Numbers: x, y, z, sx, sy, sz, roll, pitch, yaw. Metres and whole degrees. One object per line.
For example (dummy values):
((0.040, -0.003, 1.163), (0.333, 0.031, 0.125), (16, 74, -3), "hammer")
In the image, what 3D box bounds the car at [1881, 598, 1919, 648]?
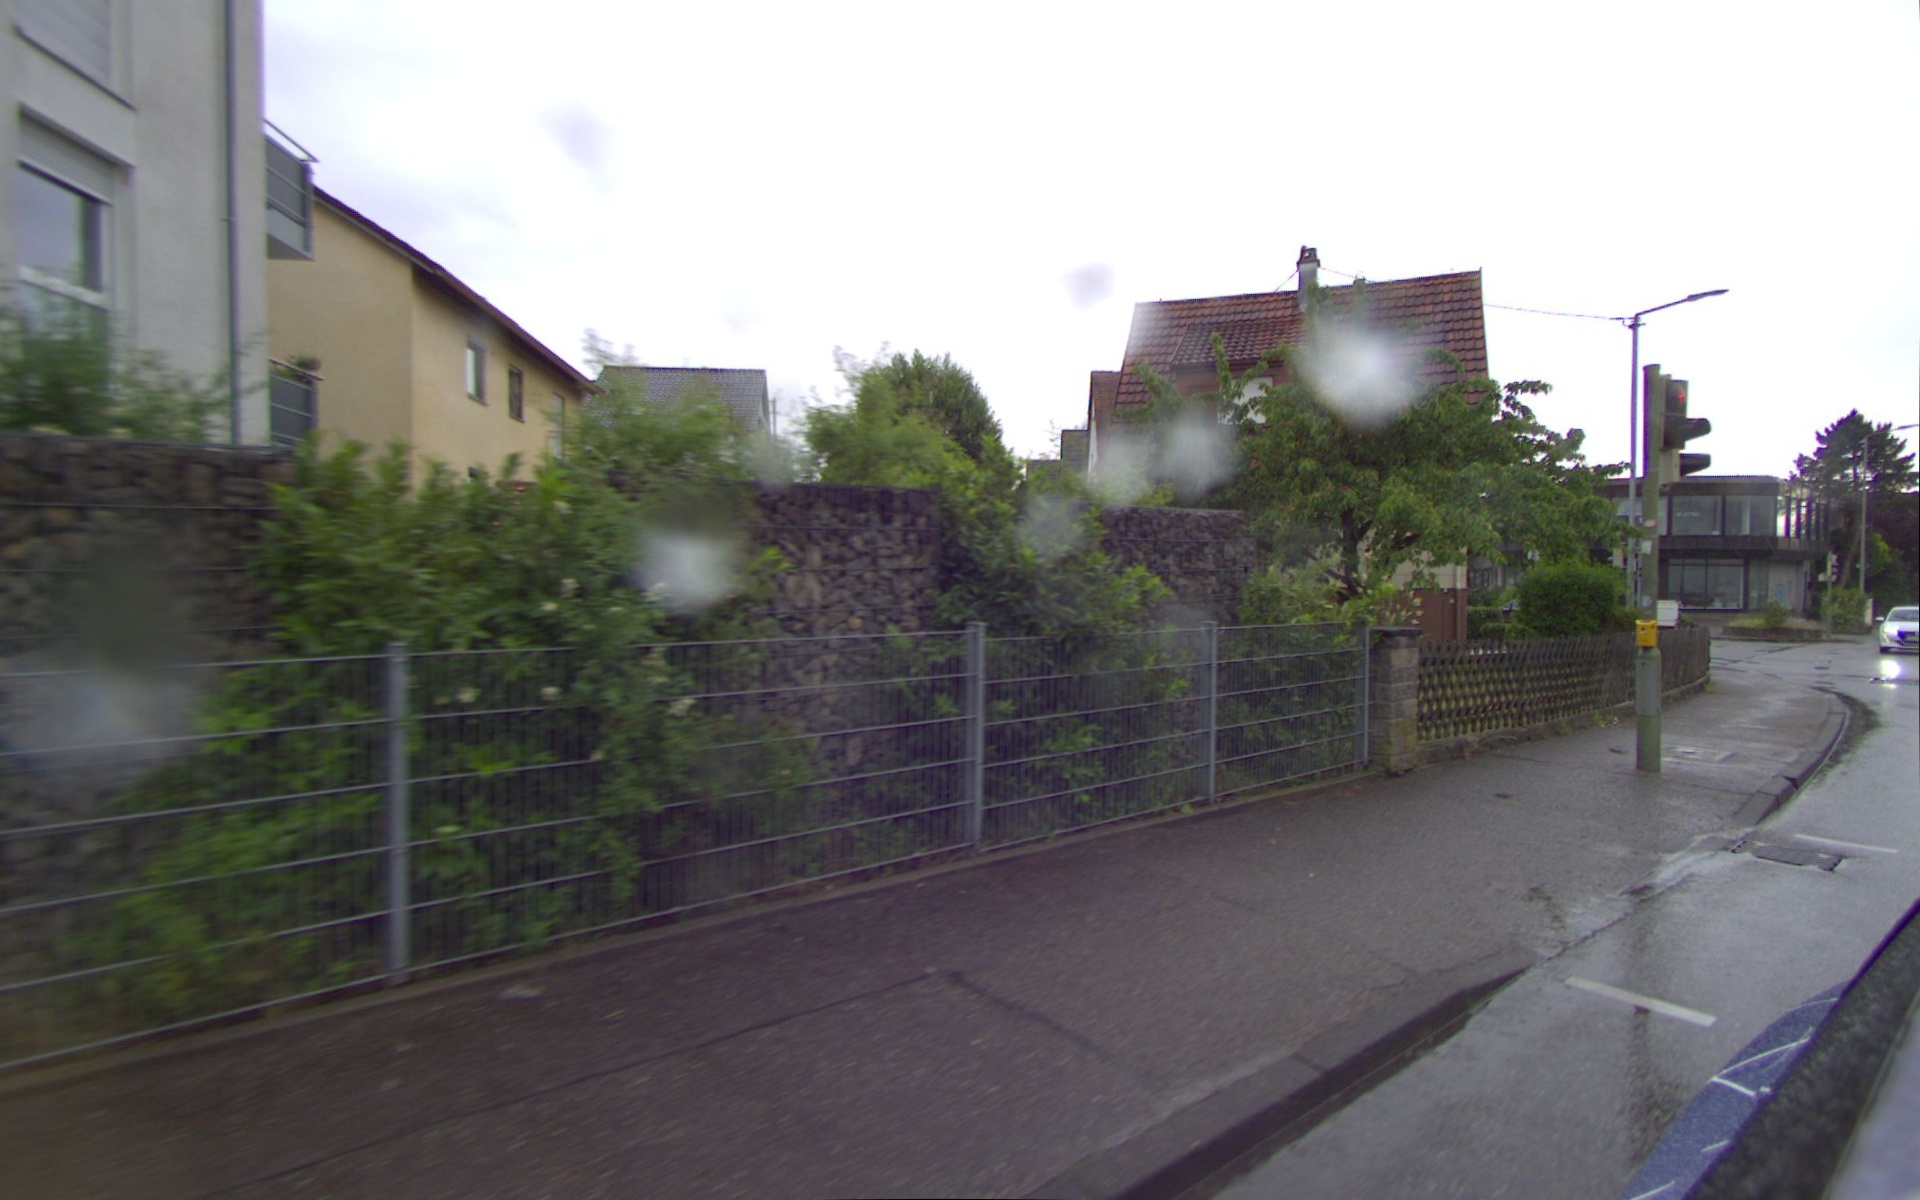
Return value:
((30.140, 0.672, 31.445), (4.270, 1.458, 1.827), (0, 0, -42), "car")
